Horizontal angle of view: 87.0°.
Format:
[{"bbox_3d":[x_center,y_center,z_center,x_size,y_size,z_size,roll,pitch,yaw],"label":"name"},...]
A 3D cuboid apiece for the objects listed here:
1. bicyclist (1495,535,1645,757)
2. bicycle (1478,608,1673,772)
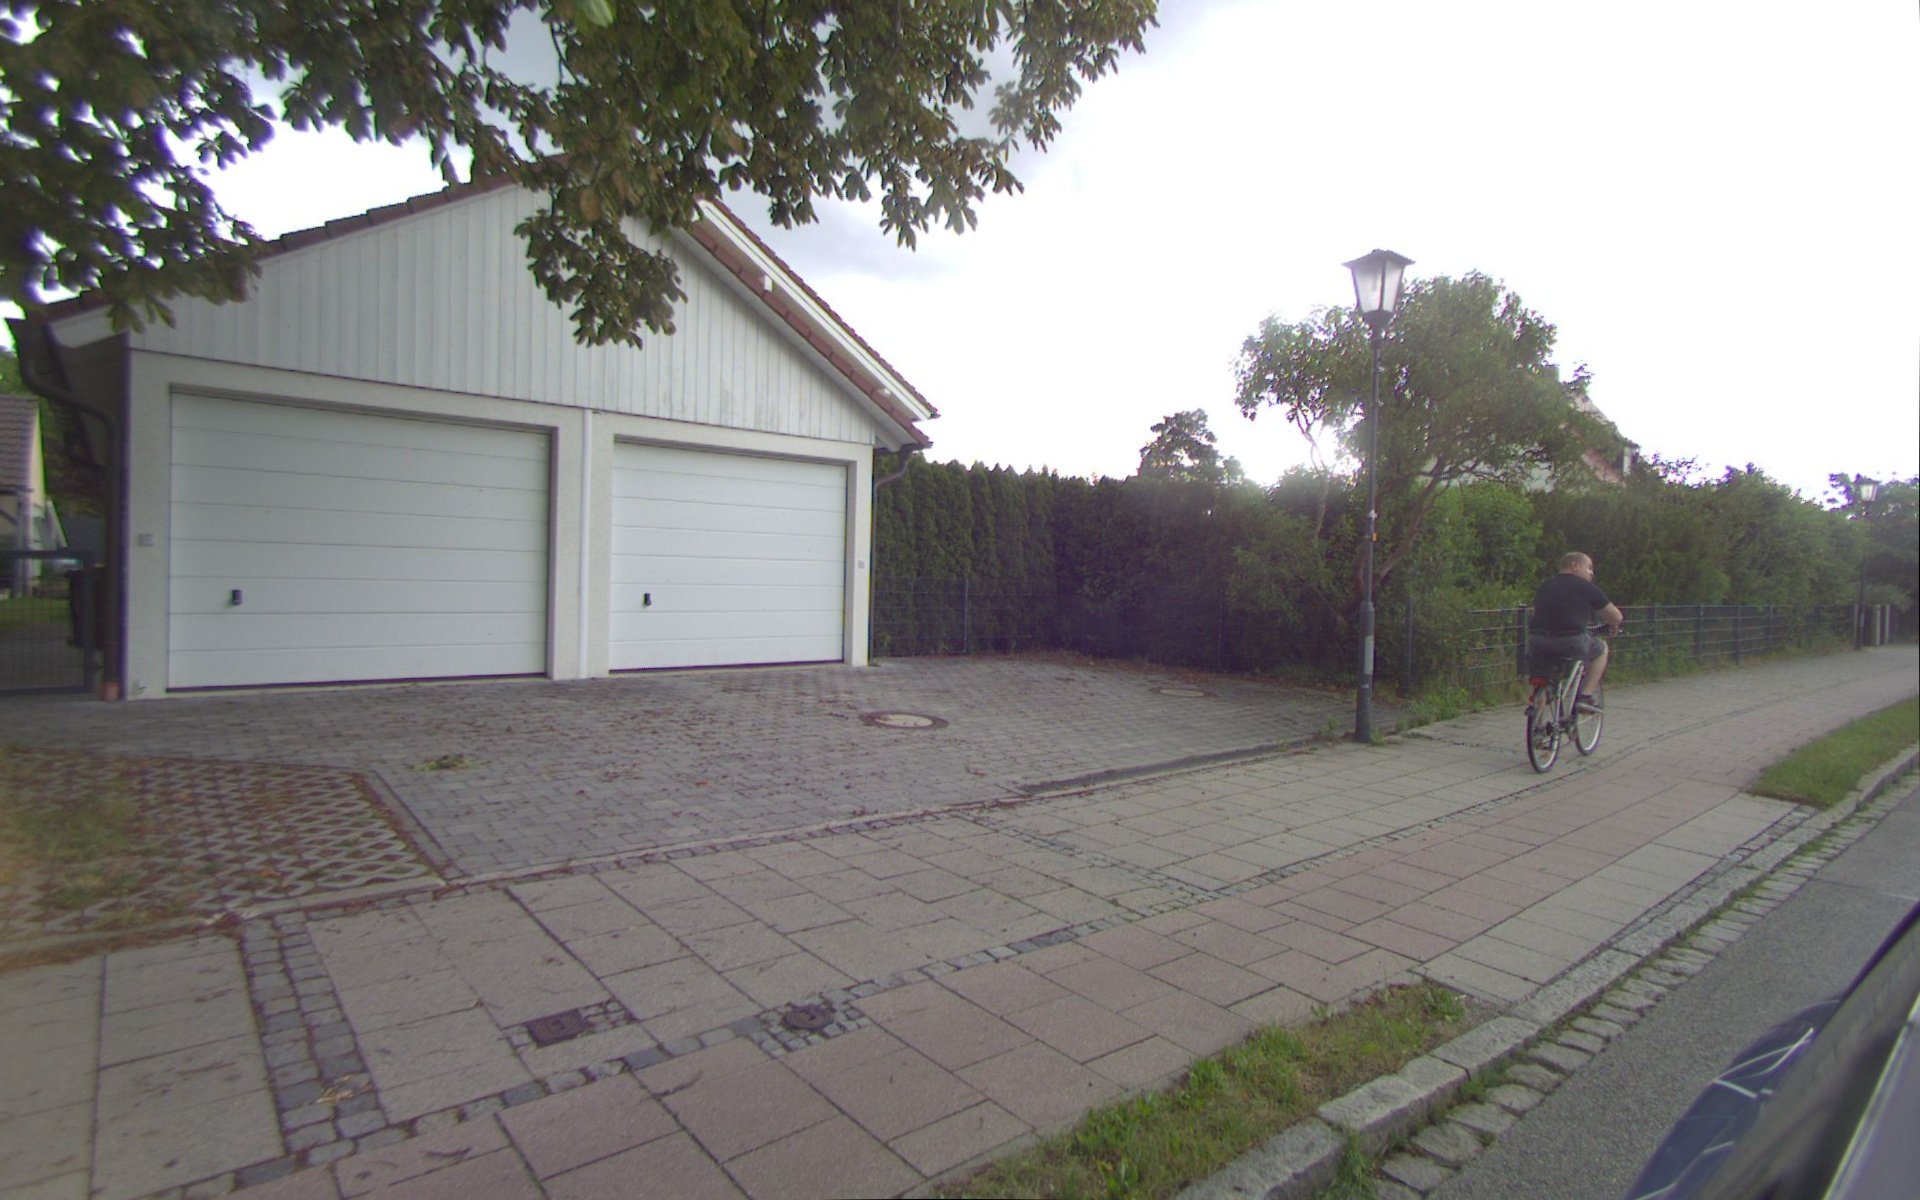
[{"bbox_3d":[4.873,0.335,8.089,0.874,1.653,0.738,0,1,-37],"label":"bicyclist"},{"bbox_3d":[5.012,0.658,8.196,1.811,1.157,0.766,0,1,-39],"label":"bicycle"}]
